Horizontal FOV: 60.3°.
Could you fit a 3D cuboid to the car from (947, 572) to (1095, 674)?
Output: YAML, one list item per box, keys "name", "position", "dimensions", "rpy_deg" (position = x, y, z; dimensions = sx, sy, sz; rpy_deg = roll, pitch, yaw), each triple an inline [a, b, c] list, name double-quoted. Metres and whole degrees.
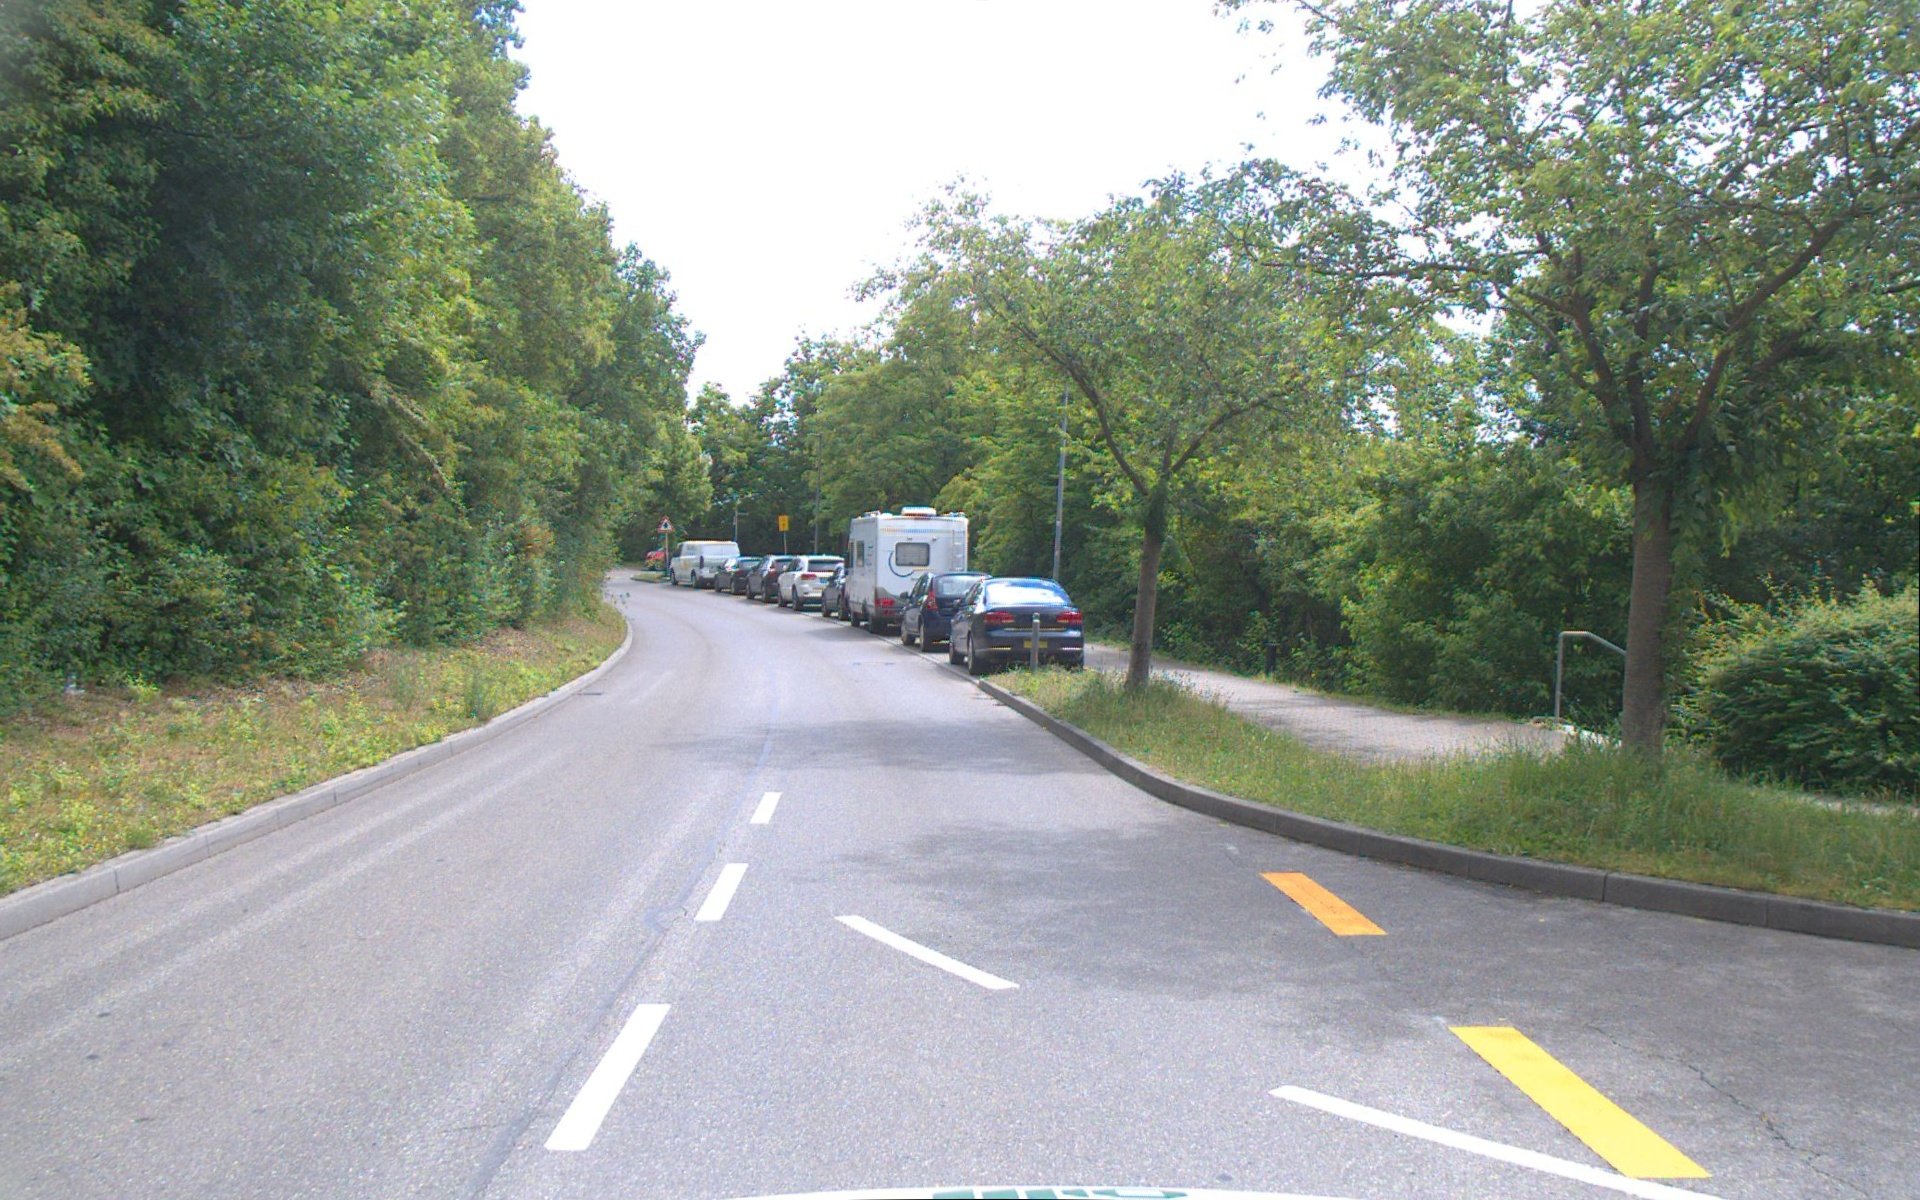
- name: "car"
  position: [0.889, 0.304, 26.573]
  dimensions: [1.742, 1.459, 4.328]
  rpy_deg: [0, 2, -7]

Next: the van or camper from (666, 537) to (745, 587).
- name: "van or camper"
  position: [-11.044, -1.669, 71.356]
  dimensions: [1.969, 1.953, 5.224]
  rpy_deg: [-1, 3, -25]

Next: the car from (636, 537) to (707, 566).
- name: "car"
  position: [-15.828, -2.651, 90.718]
  dimensions: [3.488, 1.506, 1.770]
  rpy_deg: [0, 4, -23]

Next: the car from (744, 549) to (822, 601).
- name: "car"
  position: [-6.406, -0.953, 59.553]
  dimensions: [1.963, 1.654, 4.257]
  rpy_deg: [-2, 3, -18]

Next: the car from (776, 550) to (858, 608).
- name: "car"
  position: [-4.713, -0.718, 53.887]
  dimensions: [1.841, 1.718, 4.561]
  rpy_deg: [1, 2, -16]

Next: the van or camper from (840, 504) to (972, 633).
- name: "van or camper"
  position: [-1.450, -0.806, 41.093]
  dimensions: [2.291, 2.919, 6.135]
  rpy_deg: [1, 1, -11]

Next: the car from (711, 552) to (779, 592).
- name: "car"
  position: [-8.624, -1.128, 66.036]
  dimensions: [1.773, 1.489, 3.974]
  rpy_deg: [0, 2, -22]

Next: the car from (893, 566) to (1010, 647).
- name: "car"
  position: [-0.237, 0.101, 33.633]
  dimensions: [1.698, 1.545, 3.879]
  rpy_deg: [0, 0, -11]

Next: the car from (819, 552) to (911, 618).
- name: "car"
  position: [-2.748, -0.477, 47.113]
  dimensions: [1.684, 1.618, 3.983]
  rpy_deg: [-7, 3, -15]
